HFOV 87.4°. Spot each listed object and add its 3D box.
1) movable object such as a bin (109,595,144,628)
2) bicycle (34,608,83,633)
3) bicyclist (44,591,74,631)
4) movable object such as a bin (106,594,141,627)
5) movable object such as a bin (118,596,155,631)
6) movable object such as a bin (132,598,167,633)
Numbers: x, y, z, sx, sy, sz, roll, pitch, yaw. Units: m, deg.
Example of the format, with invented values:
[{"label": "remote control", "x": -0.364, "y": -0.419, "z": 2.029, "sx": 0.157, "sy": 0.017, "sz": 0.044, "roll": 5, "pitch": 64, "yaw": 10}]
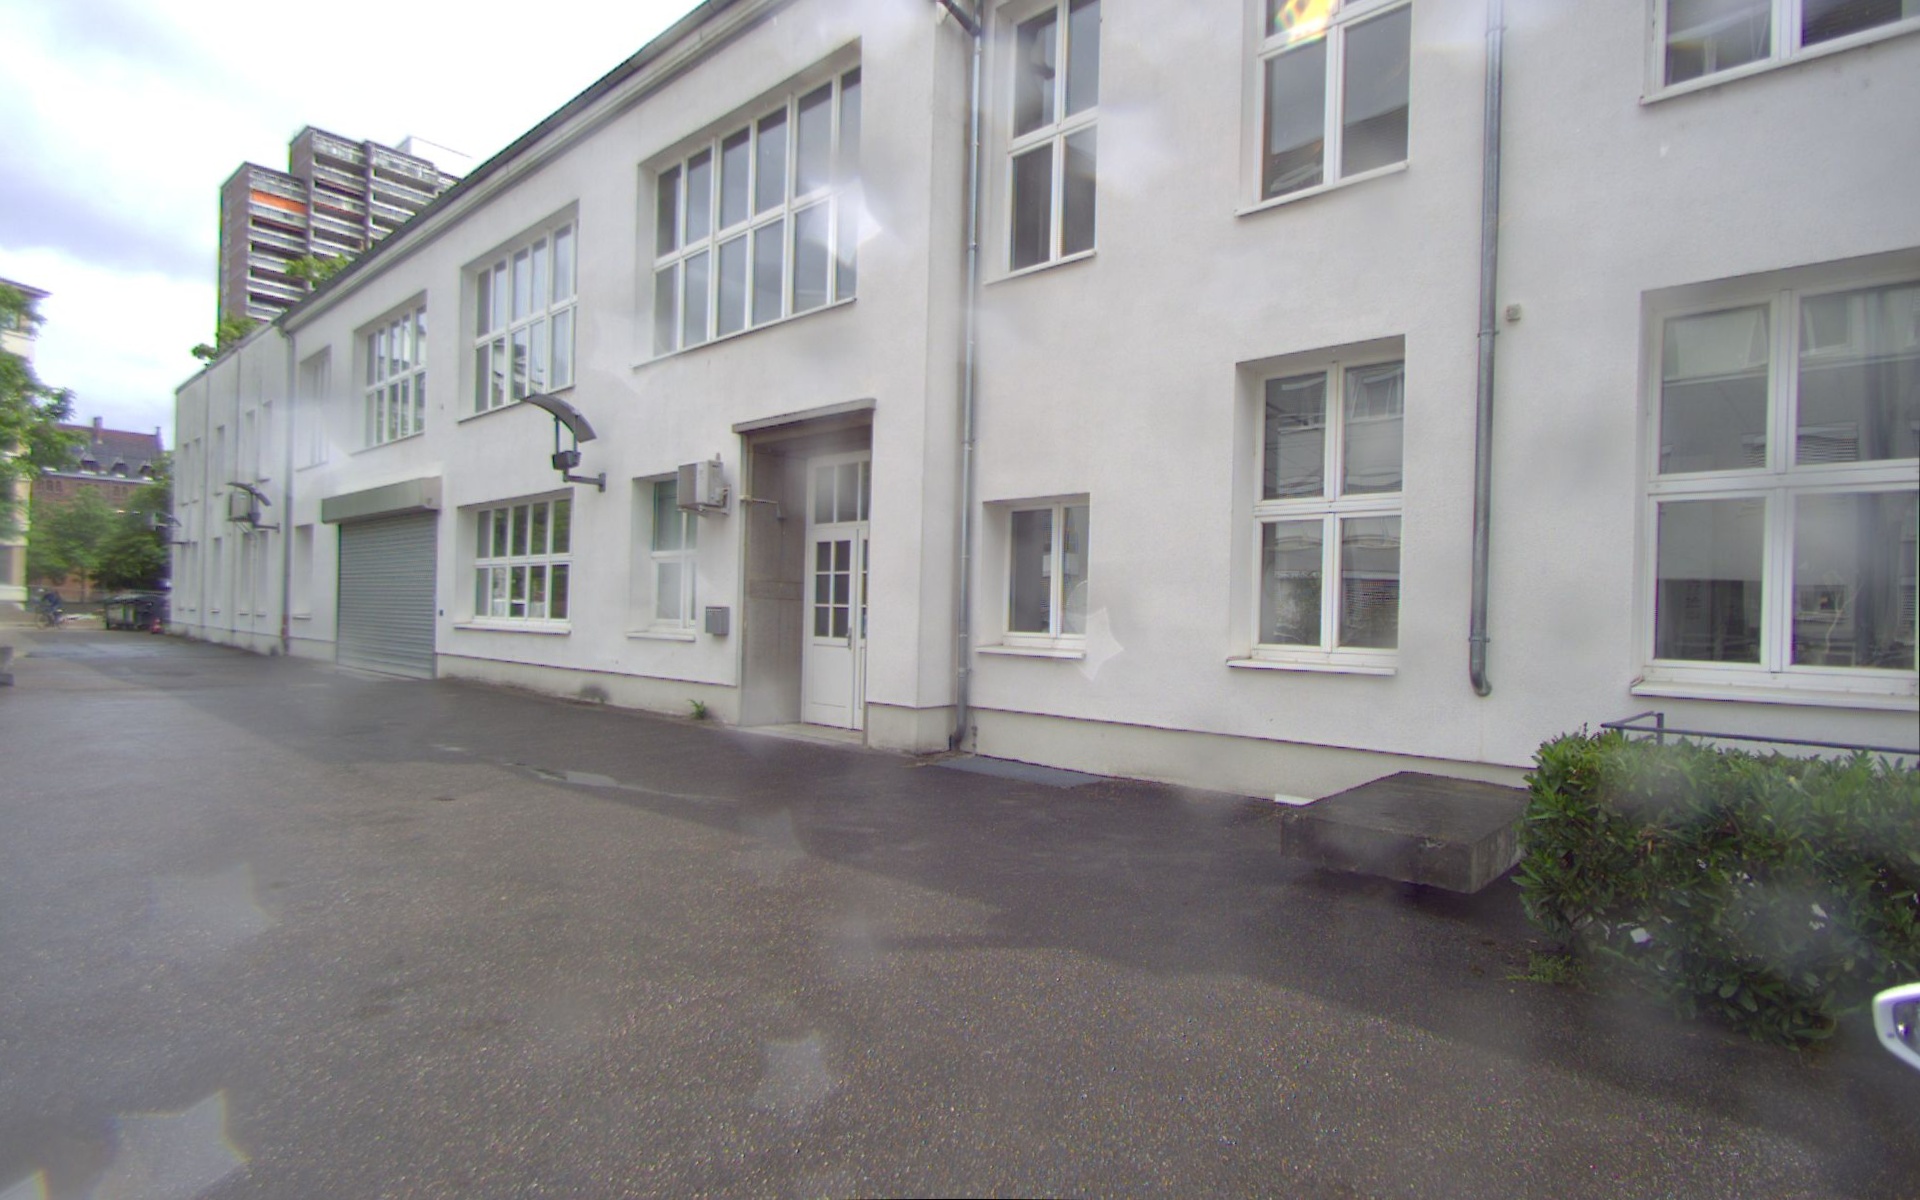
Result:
[{"label": "movable object such as a bin", "x": -35.424, "y": 0.483, "z": 42.694, "sx": 1.059, "sy": 1.374, "sz": 1.248, "roll": 1, "pitch": 0, "yaw": -44}, {"label": "bicycle", "x": -39.309, "y": 0.893, "z": 43.817, "sx": 0.532, "sy": 1.052, "sz": 1.713, "roll": 2, "pitch": 0, "yaw": 2}, {"label": "bicyclist", "x": -39.295, "y": 0.463, "z": 43.817, "sx": 0.580, "sy": 1.701, "sz": 0.759, "roll": 1, "pitch": 0, "yaw": 2}, {"label": "movable object such as a bin", "x": -36.362, "y": 0.457, "z": 43.671, "sx": 1.059, "sy": 1.374, "sz": 1.248, "roll": 1, "pitch": 0, "yaw": -44}, {"label": "movable object such as a bin", "x": -33.353, "y": 0.539, "z": 40.681, "sx": 1.039, "sy": 1.374, "sz": 1.192, "roll": 1, "pitch": 0, "yaw": -44}, {"label": "movable object such as a bin", "x": -31.963, "y": 0.613, "z": 39.611, "sx": 0.972, "sy": 1.374, "sz": 0.907, "roll": 1, "pitch": 0, "yaw": -44}]
